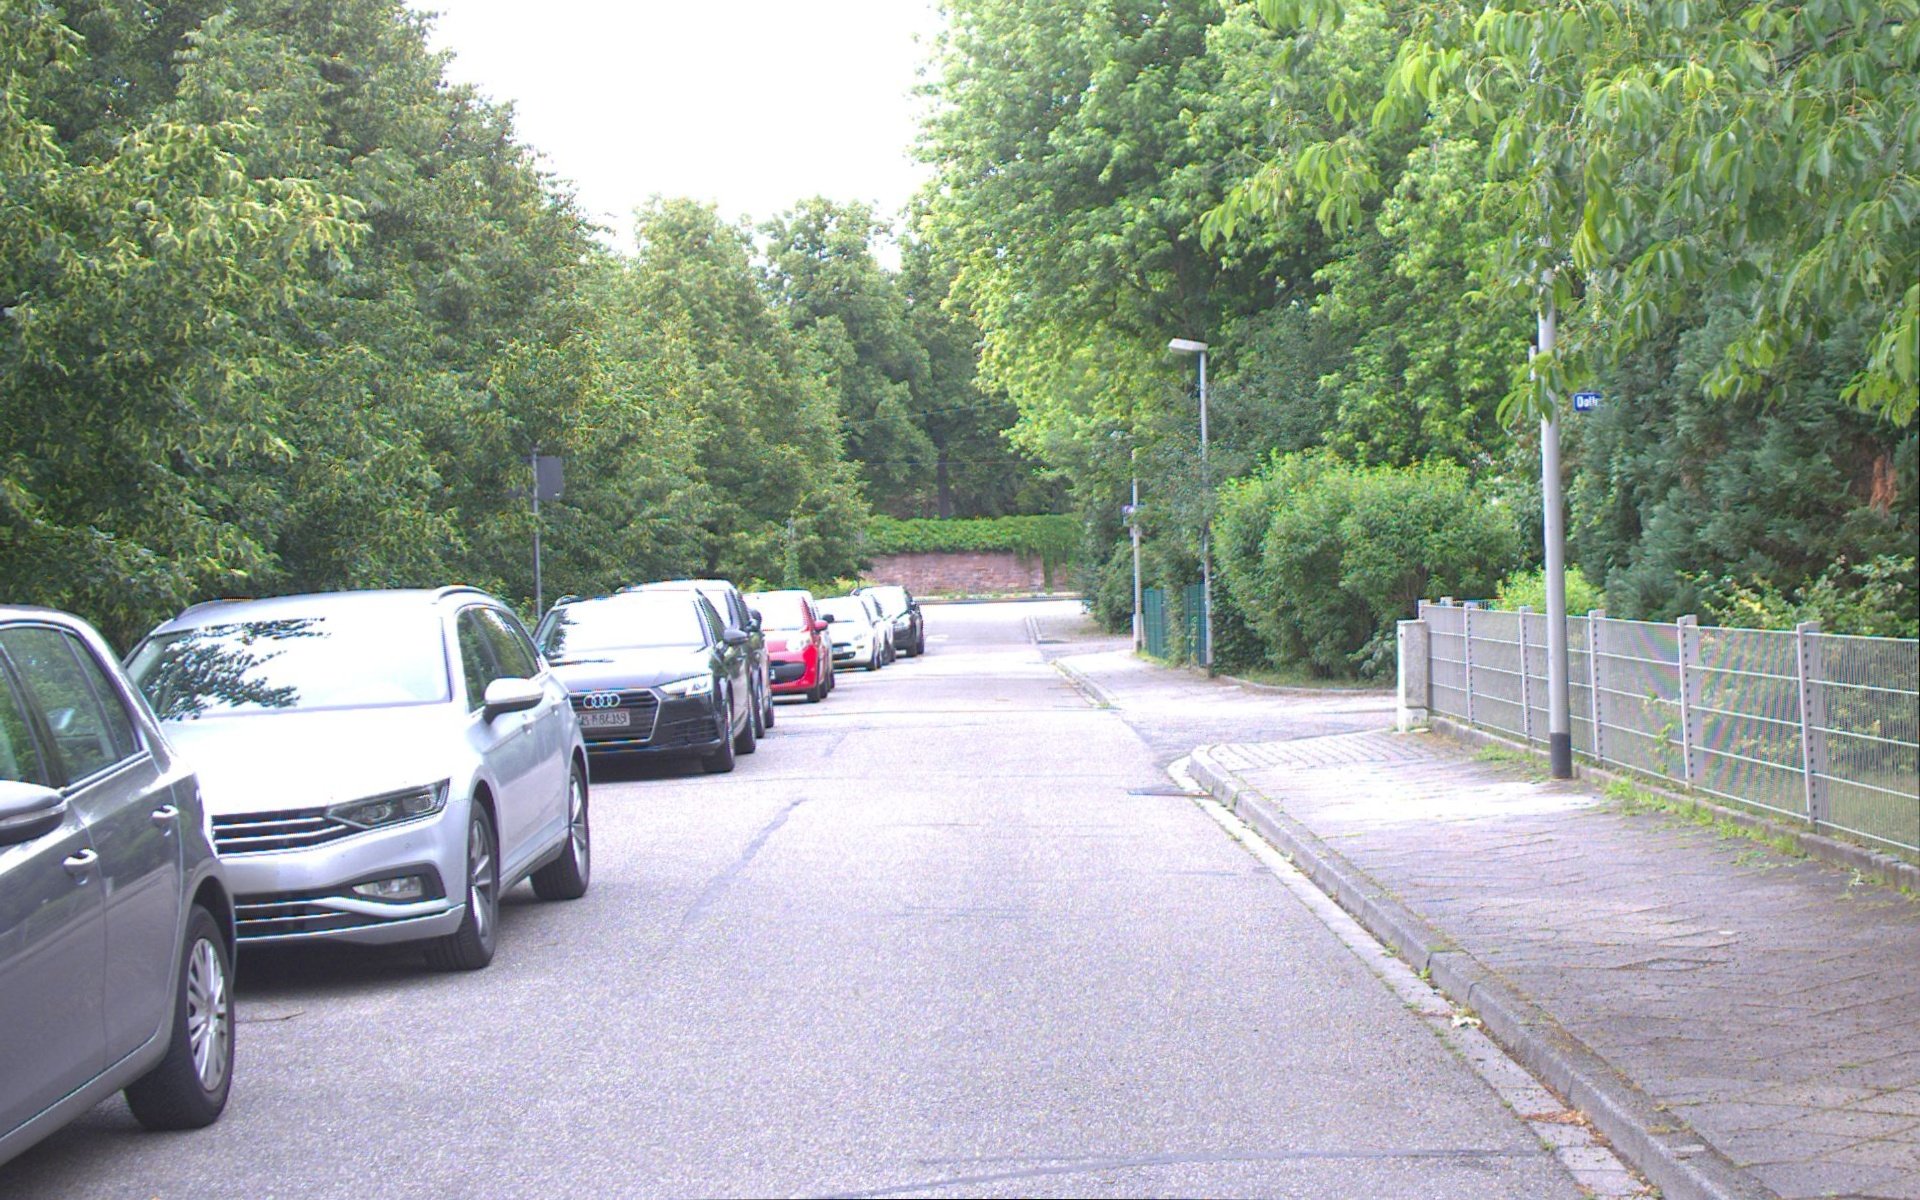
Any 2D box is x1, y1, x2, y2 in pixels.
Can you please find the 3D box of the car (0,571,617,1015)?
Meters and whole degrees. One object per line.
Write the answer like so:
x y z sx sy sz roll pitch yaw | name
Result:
-2.636 0.656 14.124 1.776 1.423 4.478 -3 1 2 | car

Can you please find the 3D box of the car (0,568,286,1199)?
-2.934 0.732 7.751 1.757 1.473 4.305 -4 1 2 | car

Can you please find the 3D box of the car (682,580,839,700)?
-2.636 0.504 46.192 1.752 1.420 4.000 -3 1 1 | car

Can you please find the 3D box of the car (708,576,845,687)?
-2.770 0.458 52.740 1.752 1.514 4.000 -3 1 1 | car

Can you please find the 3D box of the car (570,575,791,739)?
-2.737 0.523 34.468 1.752 1.420 4.000 -3 1 1 | car

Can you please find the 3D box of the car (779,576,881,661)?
-2.562 0.347 68.707 1.752 1.514 4.000 -3 1 1 | car

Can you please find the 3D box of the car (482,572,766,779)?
-2.608 0.543 27.530 1.752 1.420 4.000 -3 1 1 | car
